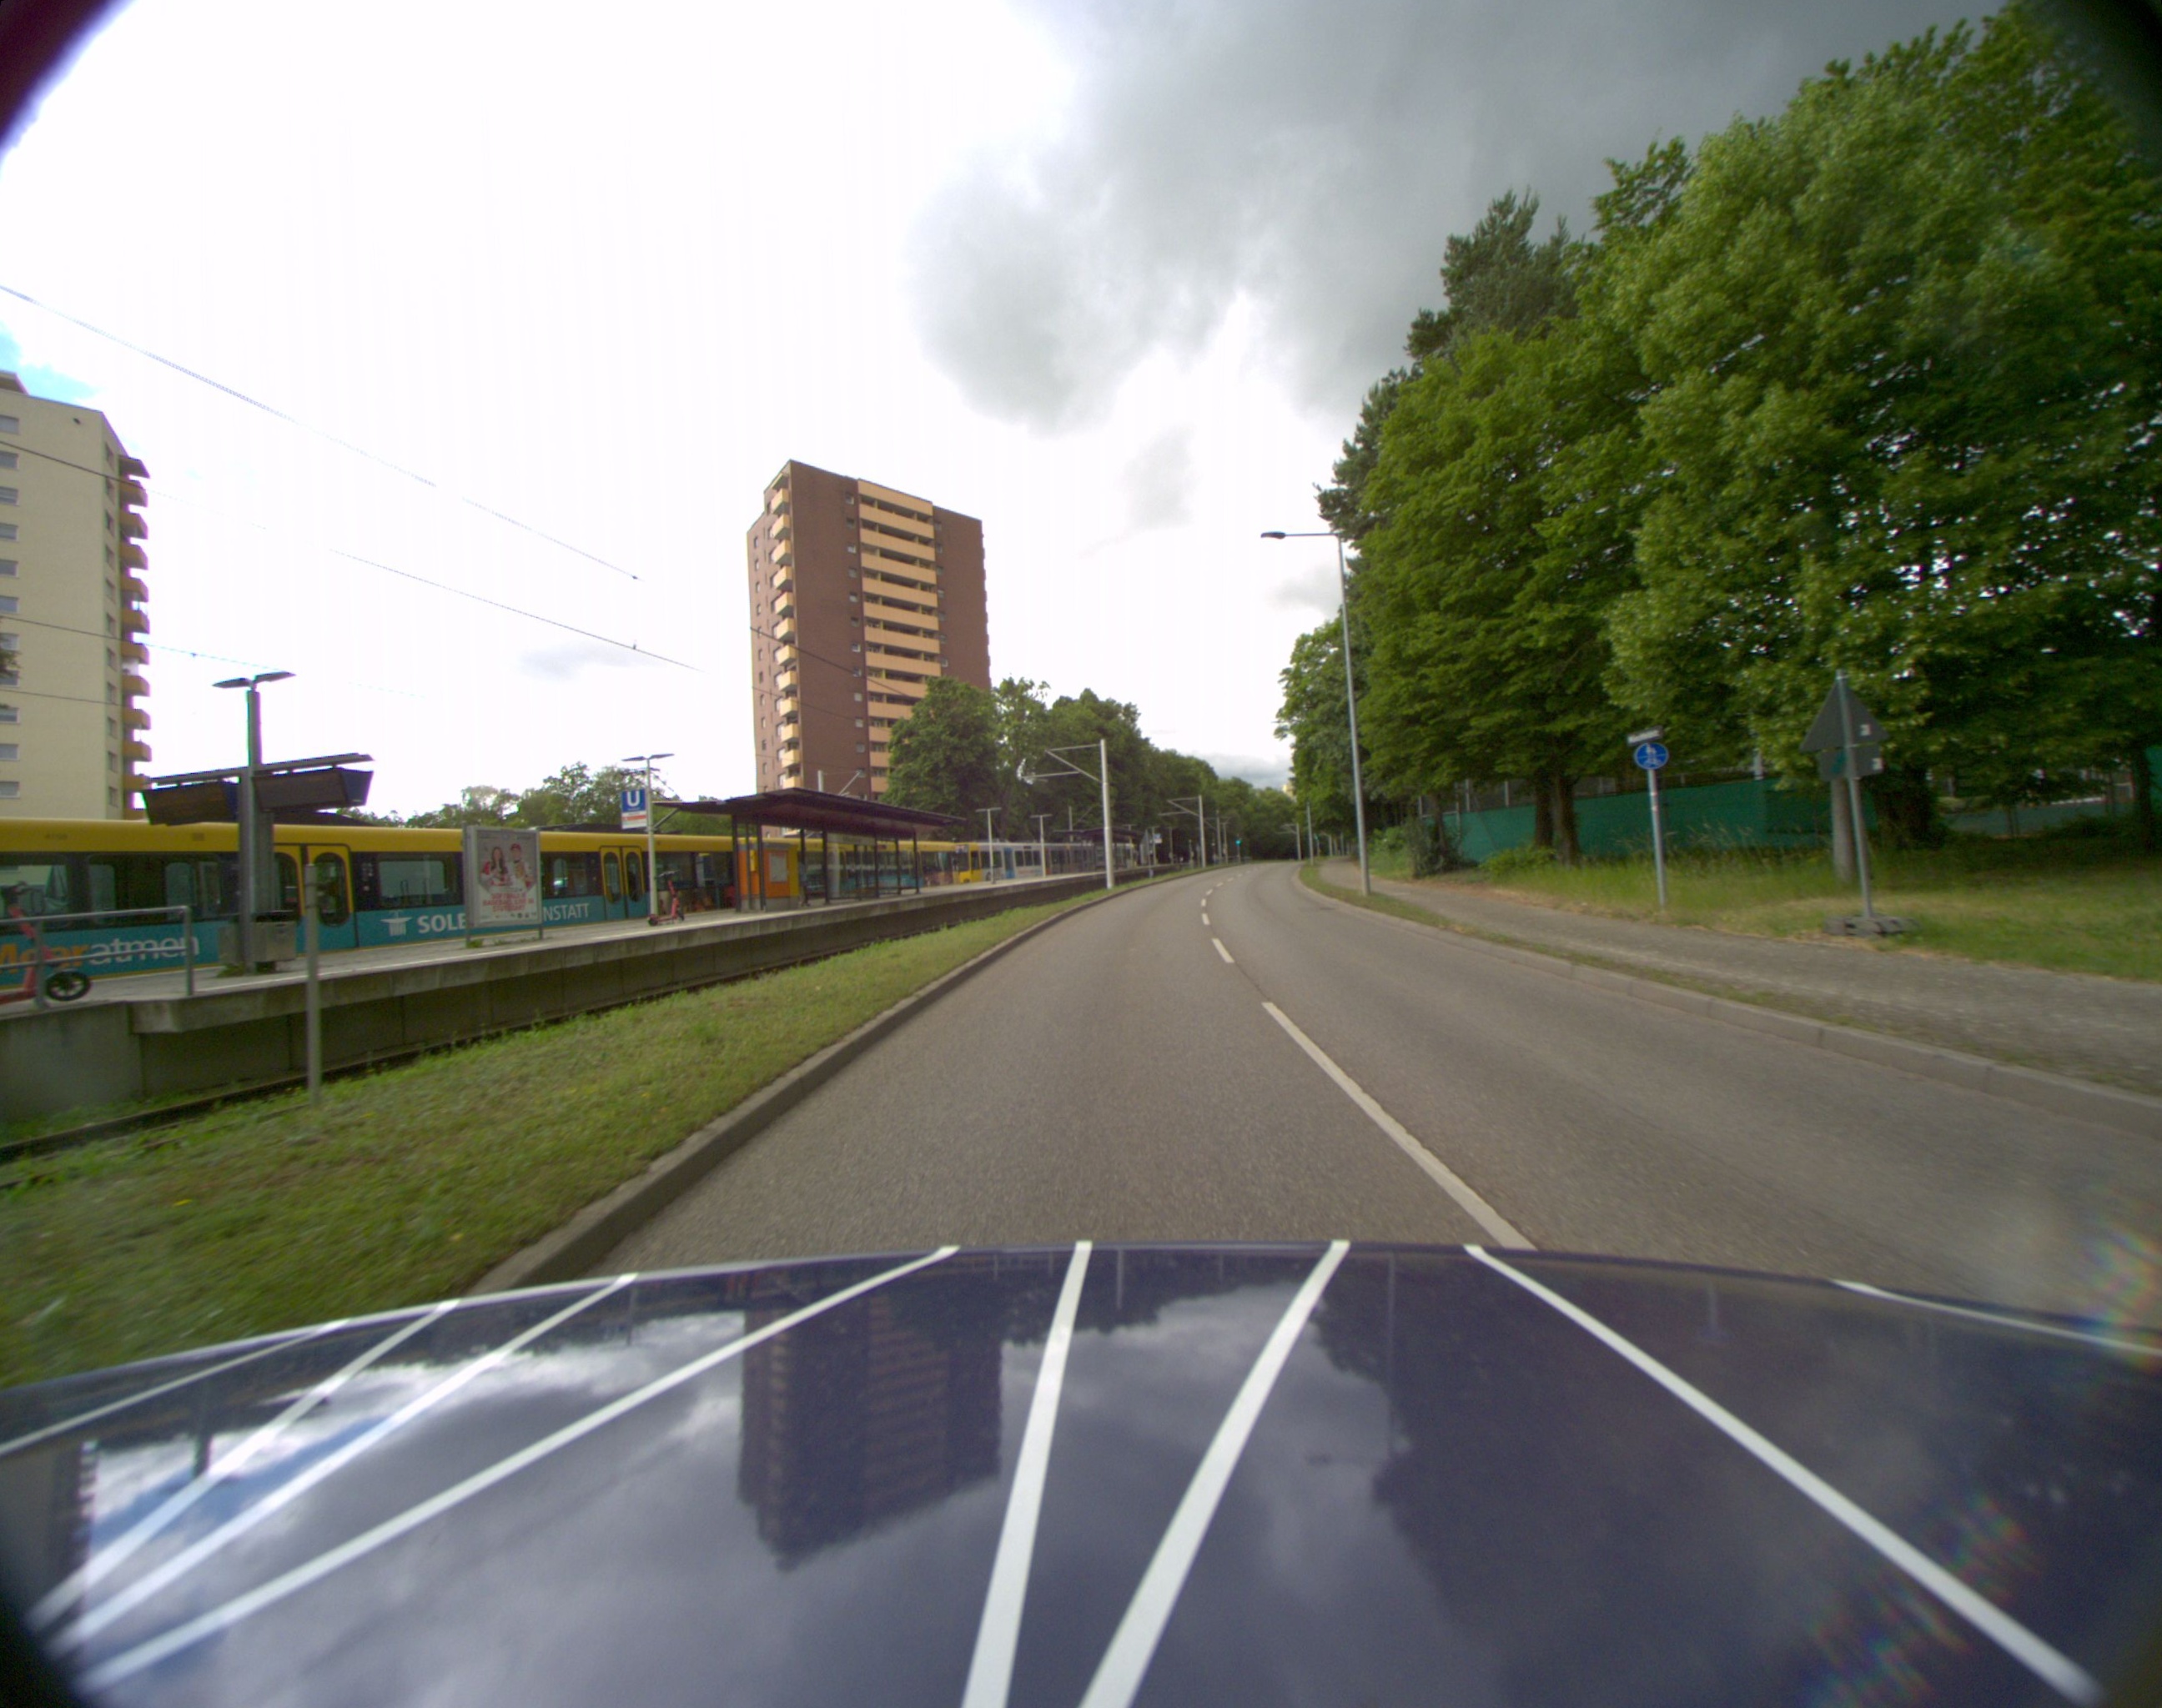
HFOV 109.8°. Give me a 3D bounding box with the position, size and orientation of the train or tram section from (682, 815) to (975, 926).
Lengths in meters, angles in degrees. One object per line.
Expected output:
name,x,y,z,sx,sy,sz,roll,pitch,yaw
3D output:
train or tram section,-10.312,0.558,36.278,2.818,3.714,19.534,-5,-1,14

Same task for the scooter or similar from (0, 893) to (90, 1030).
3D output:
scooter or similar,-10.419,1.050,7.128,0.431,1.246,1.255,-3,2,5

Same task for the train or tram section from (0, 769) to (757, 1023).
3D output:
train or tram section,-15.049,0.675,17.180,2.818,3.567,19.534,-5,-1,14

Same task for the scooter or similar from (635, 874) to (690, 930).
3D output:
scooter or similar,-9.731,1.101,17.705,0.369,1.235,1.147,-4,0,13

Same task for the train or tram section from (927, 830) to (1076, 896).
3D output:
train or tram section,-4.899,0.452,54.975,2.817,3.776,18.958,-5,-1,19

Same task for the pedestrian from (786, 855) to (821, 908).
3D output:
pedestrian,-8.487,0.844,23.278,0.623,1.564,0.666,-3,1,31

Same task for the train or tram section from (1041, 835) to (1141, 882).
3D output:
train or tram section,1.494,0.273,72.770,2.817,3.714,18.558,-5,-1,21

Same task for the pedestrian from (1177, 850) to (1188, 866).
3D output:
pedestrian,11.472,0.433,85.659,0.985,1.747,0.730,-5,-1,11
